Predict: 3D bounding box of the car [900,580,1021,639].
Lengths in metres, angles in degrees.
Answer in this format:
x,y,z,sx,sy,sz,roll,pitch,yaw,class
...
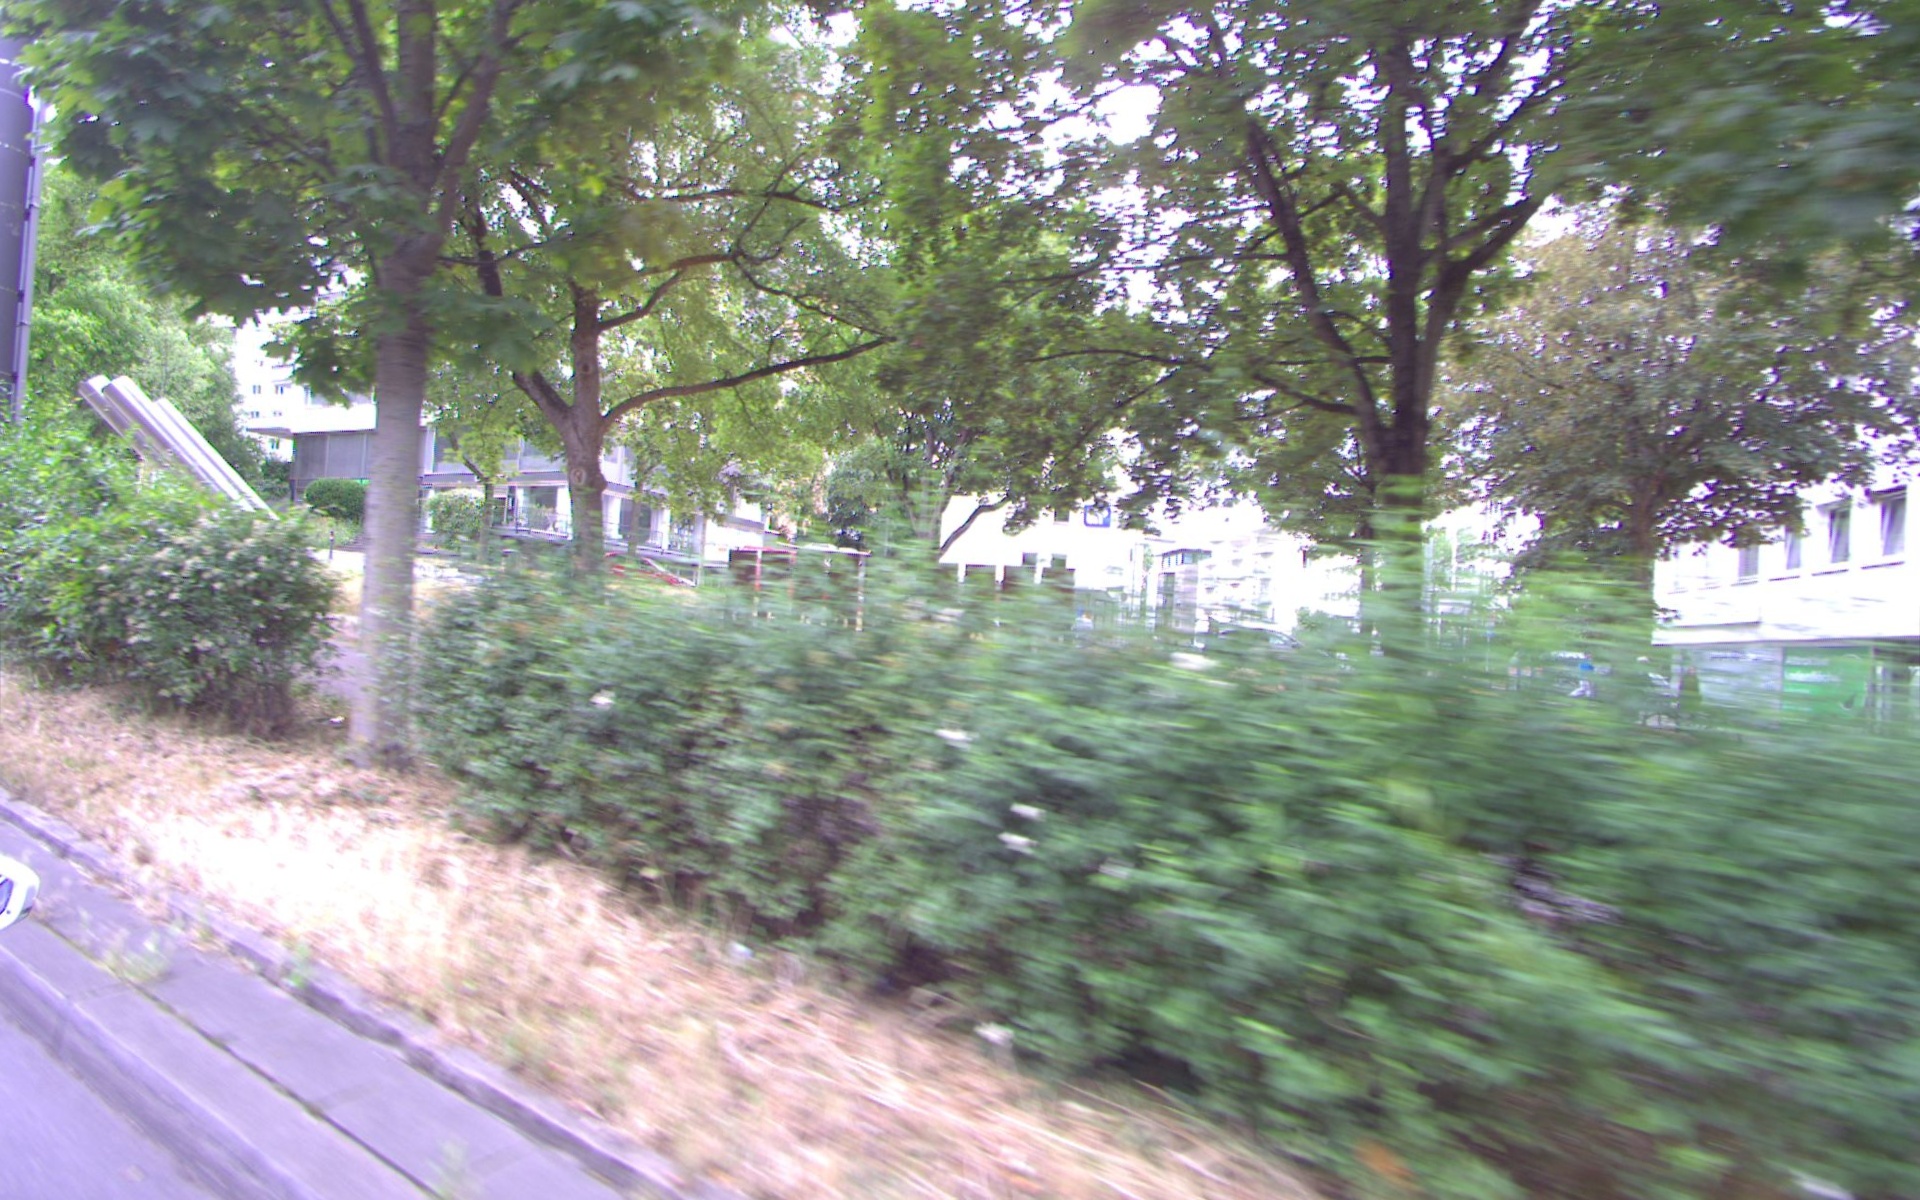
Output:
x,y,z,sx,sy,sz,roll,pitch,yaw,class
0.047,0.368,35.952,4.071,1.524,1.756,6,-4,3,car

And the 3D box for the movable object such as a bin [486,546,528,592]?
x,y,z,sx,sy,sz,roll,pitch,yaw,class
-11.799,-0.805,26.220,0.599,1.094,0.670,4,-4,32,movable object such as a bin

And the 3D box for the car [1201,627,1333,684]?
x,y,z,sx,sy,sz,roll,pitch,yaw,class
10.764,1.978,35.490,4.071,1.514,1.757,6,-4,4,car

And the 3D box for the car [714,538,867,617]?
x,y,z,sx,sy,sz,roll,pitch,yaw,class
-6.056,-0.774,36.270,4.888,2.049,2.033,7,-4,4,car

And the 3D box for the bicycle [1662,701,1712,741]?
x,y,z,sx,sy,sz,roll,pitch,yaw,class
18.438,3.062,25.544,0.510,0.869,1.543,7,-1,19,bicycle

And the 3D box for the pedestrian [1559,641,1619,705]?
x,y,z,sx,sy,sz,roll,pitch,yaw,class
19.869,2.296,31.797,1.138,1.843,1.027,6,-2,7,pedestrian

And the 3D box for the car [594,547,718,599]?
x,y,z,sx,sy,sz,roll,pitch,yaw,class
-10.978,-0.970,36.467,3.848,1.293,1.623,6,-4,4,car

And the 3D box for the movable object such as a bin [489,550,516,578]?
x,y,z,sx,sy,sz,roll,pitch,yaw,class
-20.877,-1.639,45.910,0.700,1.117,0.825,7,0,8,movable object such as a bin

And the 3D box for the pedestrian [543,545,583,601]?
x,y,z,sx,sy,sz,roll,pitch,yaw,class
-9.874,-0.668,25.045,0.609,1.317,0.549,7,1,29,pedestrian

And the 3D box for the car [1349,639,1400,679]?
x,y,z,sx,sy,sz,roll,pitch,yaw,class
22.064,3.183,53.705,1.953,1.702,4.008,5,-5,16,car

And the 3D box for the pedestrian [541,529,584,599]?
x,y,z,sx,sy,sz,roll,pitch,yaw,class
-9.522,-0.859,24.087,0.609,1.561,0.549,7,1,29,pedestrian

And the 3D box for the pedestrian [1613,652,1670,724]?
x,y,z,sx,sy,sz,roll,pitch,yaw,class
17.618,2.271,26.017,0.861,1.722,0.880,6,0,20,pedestrian

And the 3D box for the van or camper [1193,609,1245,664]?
x,y,z,sx,sy,sz,roll,pitch,yaw,class
13.478,1.970,52.113,2.257,2.254,5.453,5,-5,16,van or camper

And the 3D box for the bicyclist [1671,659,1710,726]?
x,y,z,sx,sy,sz,roll,pitch,yaw,class
18.521,2.328,25.519,0.504,1.621,0.596,6,0,20,bicyclist

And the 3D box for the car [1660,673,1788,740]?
x,y,z,sx,sy,sz,roll,pitch,yaw,class
24.743,3.412,32.731,1.569,1.669,3.388,7,0,4,car

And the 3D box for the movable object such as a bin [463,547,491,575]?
x,y,z,sx,sy,sz,roll,pitch,yaw,class
-21.832,-1.756,45.478,0.700,1.117,0.825,7,0,8,movable object such as a bin
